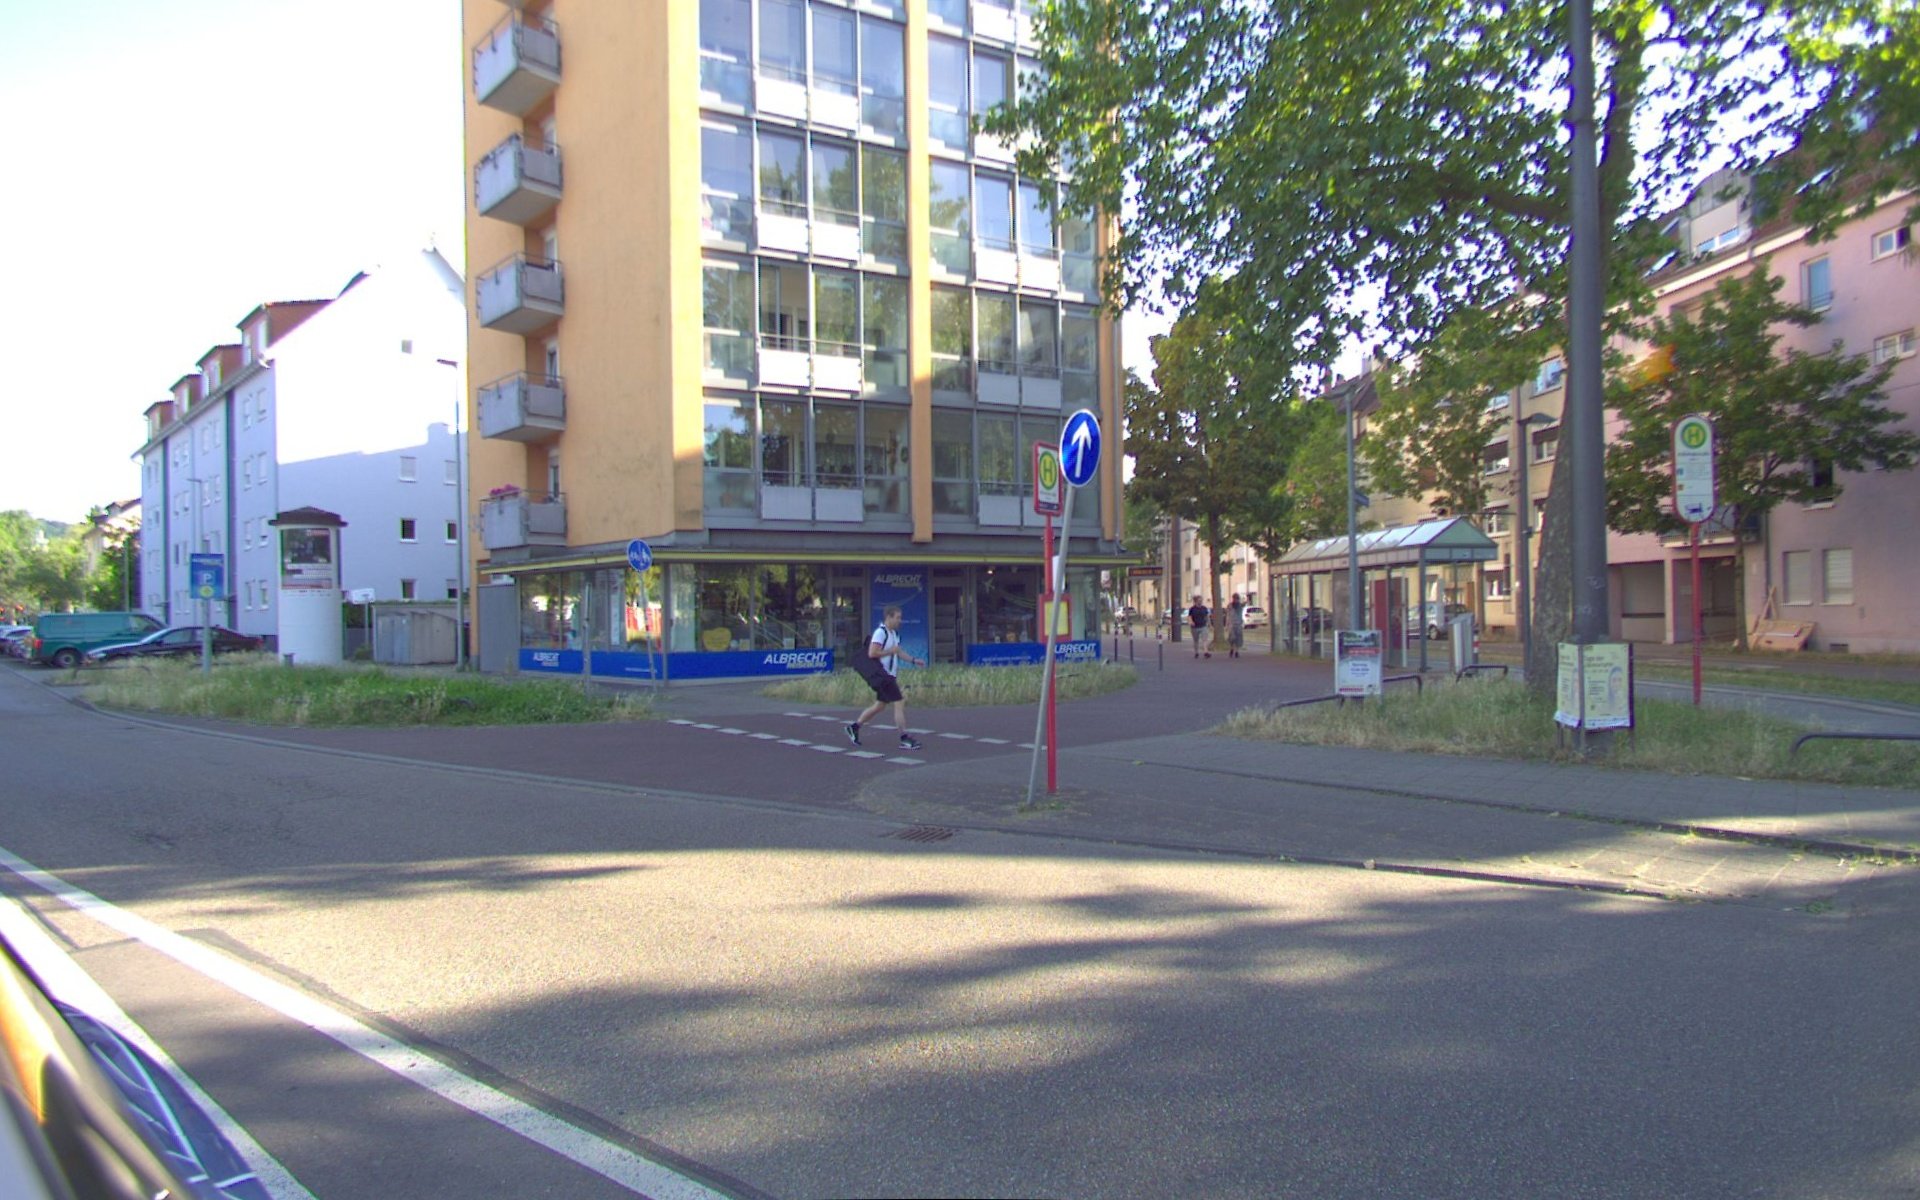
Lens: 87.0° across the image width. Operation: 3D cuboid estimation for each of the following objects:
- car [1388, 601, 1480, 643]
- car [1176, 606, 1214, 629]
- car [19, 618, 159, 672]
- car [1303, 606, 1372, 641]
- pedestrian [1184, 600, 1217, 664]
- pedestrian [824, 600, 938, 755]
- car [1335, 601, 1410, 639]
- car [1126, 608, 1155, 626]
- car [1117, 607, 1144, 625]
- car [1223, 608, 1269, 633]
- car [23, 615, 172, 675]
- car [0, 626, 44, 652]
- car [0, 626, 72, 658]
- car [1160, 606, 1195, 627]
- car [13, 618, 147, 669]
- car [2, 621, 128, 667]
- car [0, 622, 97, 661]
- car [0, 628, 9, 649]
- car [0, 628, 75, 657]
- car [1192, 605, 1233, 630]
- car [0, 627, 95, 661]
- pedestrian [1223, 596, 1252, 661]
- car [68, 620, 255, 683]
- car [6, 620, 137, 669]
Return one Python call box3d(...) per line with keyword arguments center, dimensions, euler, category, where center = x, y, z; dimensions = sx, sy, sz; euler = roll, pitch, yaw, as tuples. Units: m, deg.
box3d(center=(20.740, 0.911, 44.442), dimensions=(1.911, 1.719, 4.115), euler=(-1, 0, -3), category="car")
box3d(center=(18.636, 1.355, 80.357), dimensions=(1.771, 1.719, 4.170), euler=(-1, 0, -3), category="car")
box3d(center=(-33.127, 1.652, 38.541), dimensions=(3.941, 1.829, 2.001), euler=(-1, 0, -44), category="car")
box3d(center=(19.910, 1.206, 53.610), dimensions=(1.911, 1.719, 4.115), euler=(-1, 0, -3), category="car")
box3d(center=(6.686, 0.882, 28.208), dimensions=(0.803, 1.763, 0.538), euler=(-1, 0, 6), category="pedestrian")
box3d(center=(-0.927, 0.884, 12.096), dimensions=(1.080, 1.750, 0.897), euler=(-1, 0, 19), category="pedestrian")
box3d(center=(19.899, 0.922, 48.997), dimensions=(1.911, 1.719, 3.827), euler=(-1, 0, -3), category="car")
box3d(center=(17.777, 1.642, 99.883), dimensions=(1.911, 1.719, 4.003), euler=(-1, 0, -3), category="car")
box3d(center=(17.731, 1.642, 105.486), dimensions=(1.911, 1.719, 4.372), euler=(-1, 0, -3), category="car")
box3d(center=(19.165, 1.350, 68.062), dimensions=(1.741, 1.588, 4.049), euler=(-1, 0, -3), category="car")
box3d(center=(-31.221, 1.561, 36.698), dimensions=(2.001, 1.962, 3.942), euler=(-1, 0, 44), category="car")
box3d(center=(-63.502, 2.607, 67.003), dimensions=(4.199, 1.585, 1.867), euler=(-1, 0, -44), category="car")
box3d(center=(-55.799, 2.476, 60.445), dimensions=(4.016, 1.765, 1.900), euler=(-1, 0, -44), category="car")
box3d(center=(18.424, 1.397, 85.811), dimensions=(1.830, 1.719, 4.170), euler=(-1, 0, -3), category="car")
box3d(center=(-35.126, 1.678, 40.443), dimensions=(3.941, 1.829, 2.001), euler=(-1, 0, -44), category="car")
box3d(center=(-38.833, 1.869, 43.940), dimensions=(4.016, 1.765, 1.900), euler=(-1, 0, -44), category="car")
box3d(center=(-46.124, 2.042, 50.876), dimensions=(4.061, 1.785, 1.758), euler=(-1, 0, -44), category="car")
box3d(center=(-74.766, 2.991, 76.972), dimensions=(3.490, 1.585, 1.867), euler=(-1, 0, -44), category="car")
box3d(center=(-55.666, 2.506, 60.391), dimensions=(4.199, 1.585, 1.867), euler=(-1, 0, -44), category="car")
box3d(center=(18.698, 1.270, 75.167), dimensions=(1.808, 1.719, 4.059), euler=(-1, 0, -3), category="car")
box3d(center=(-48.126, 2.278, 52.967), dimensions=(4.199, 1.585, 1.867), euler=(-1, 0, -44), category="car")
box3d(center=(7.629, 0.785, 27.861), dimensions=(0.622, 1.763, 0.689), euler=(-1, 0, 6), category="pedestrian")
box3d(center=(-24.278, 1.512, 30.875), dimensions=(4.361, 1.674, 2.003), euler=(-1, 0, -41), category="car")
box3d(center=(-36.864, 1.811, 42.022), dimensions=(4.003, 1.829, 1.938), euler=(-1, 0, -44), category="car")
